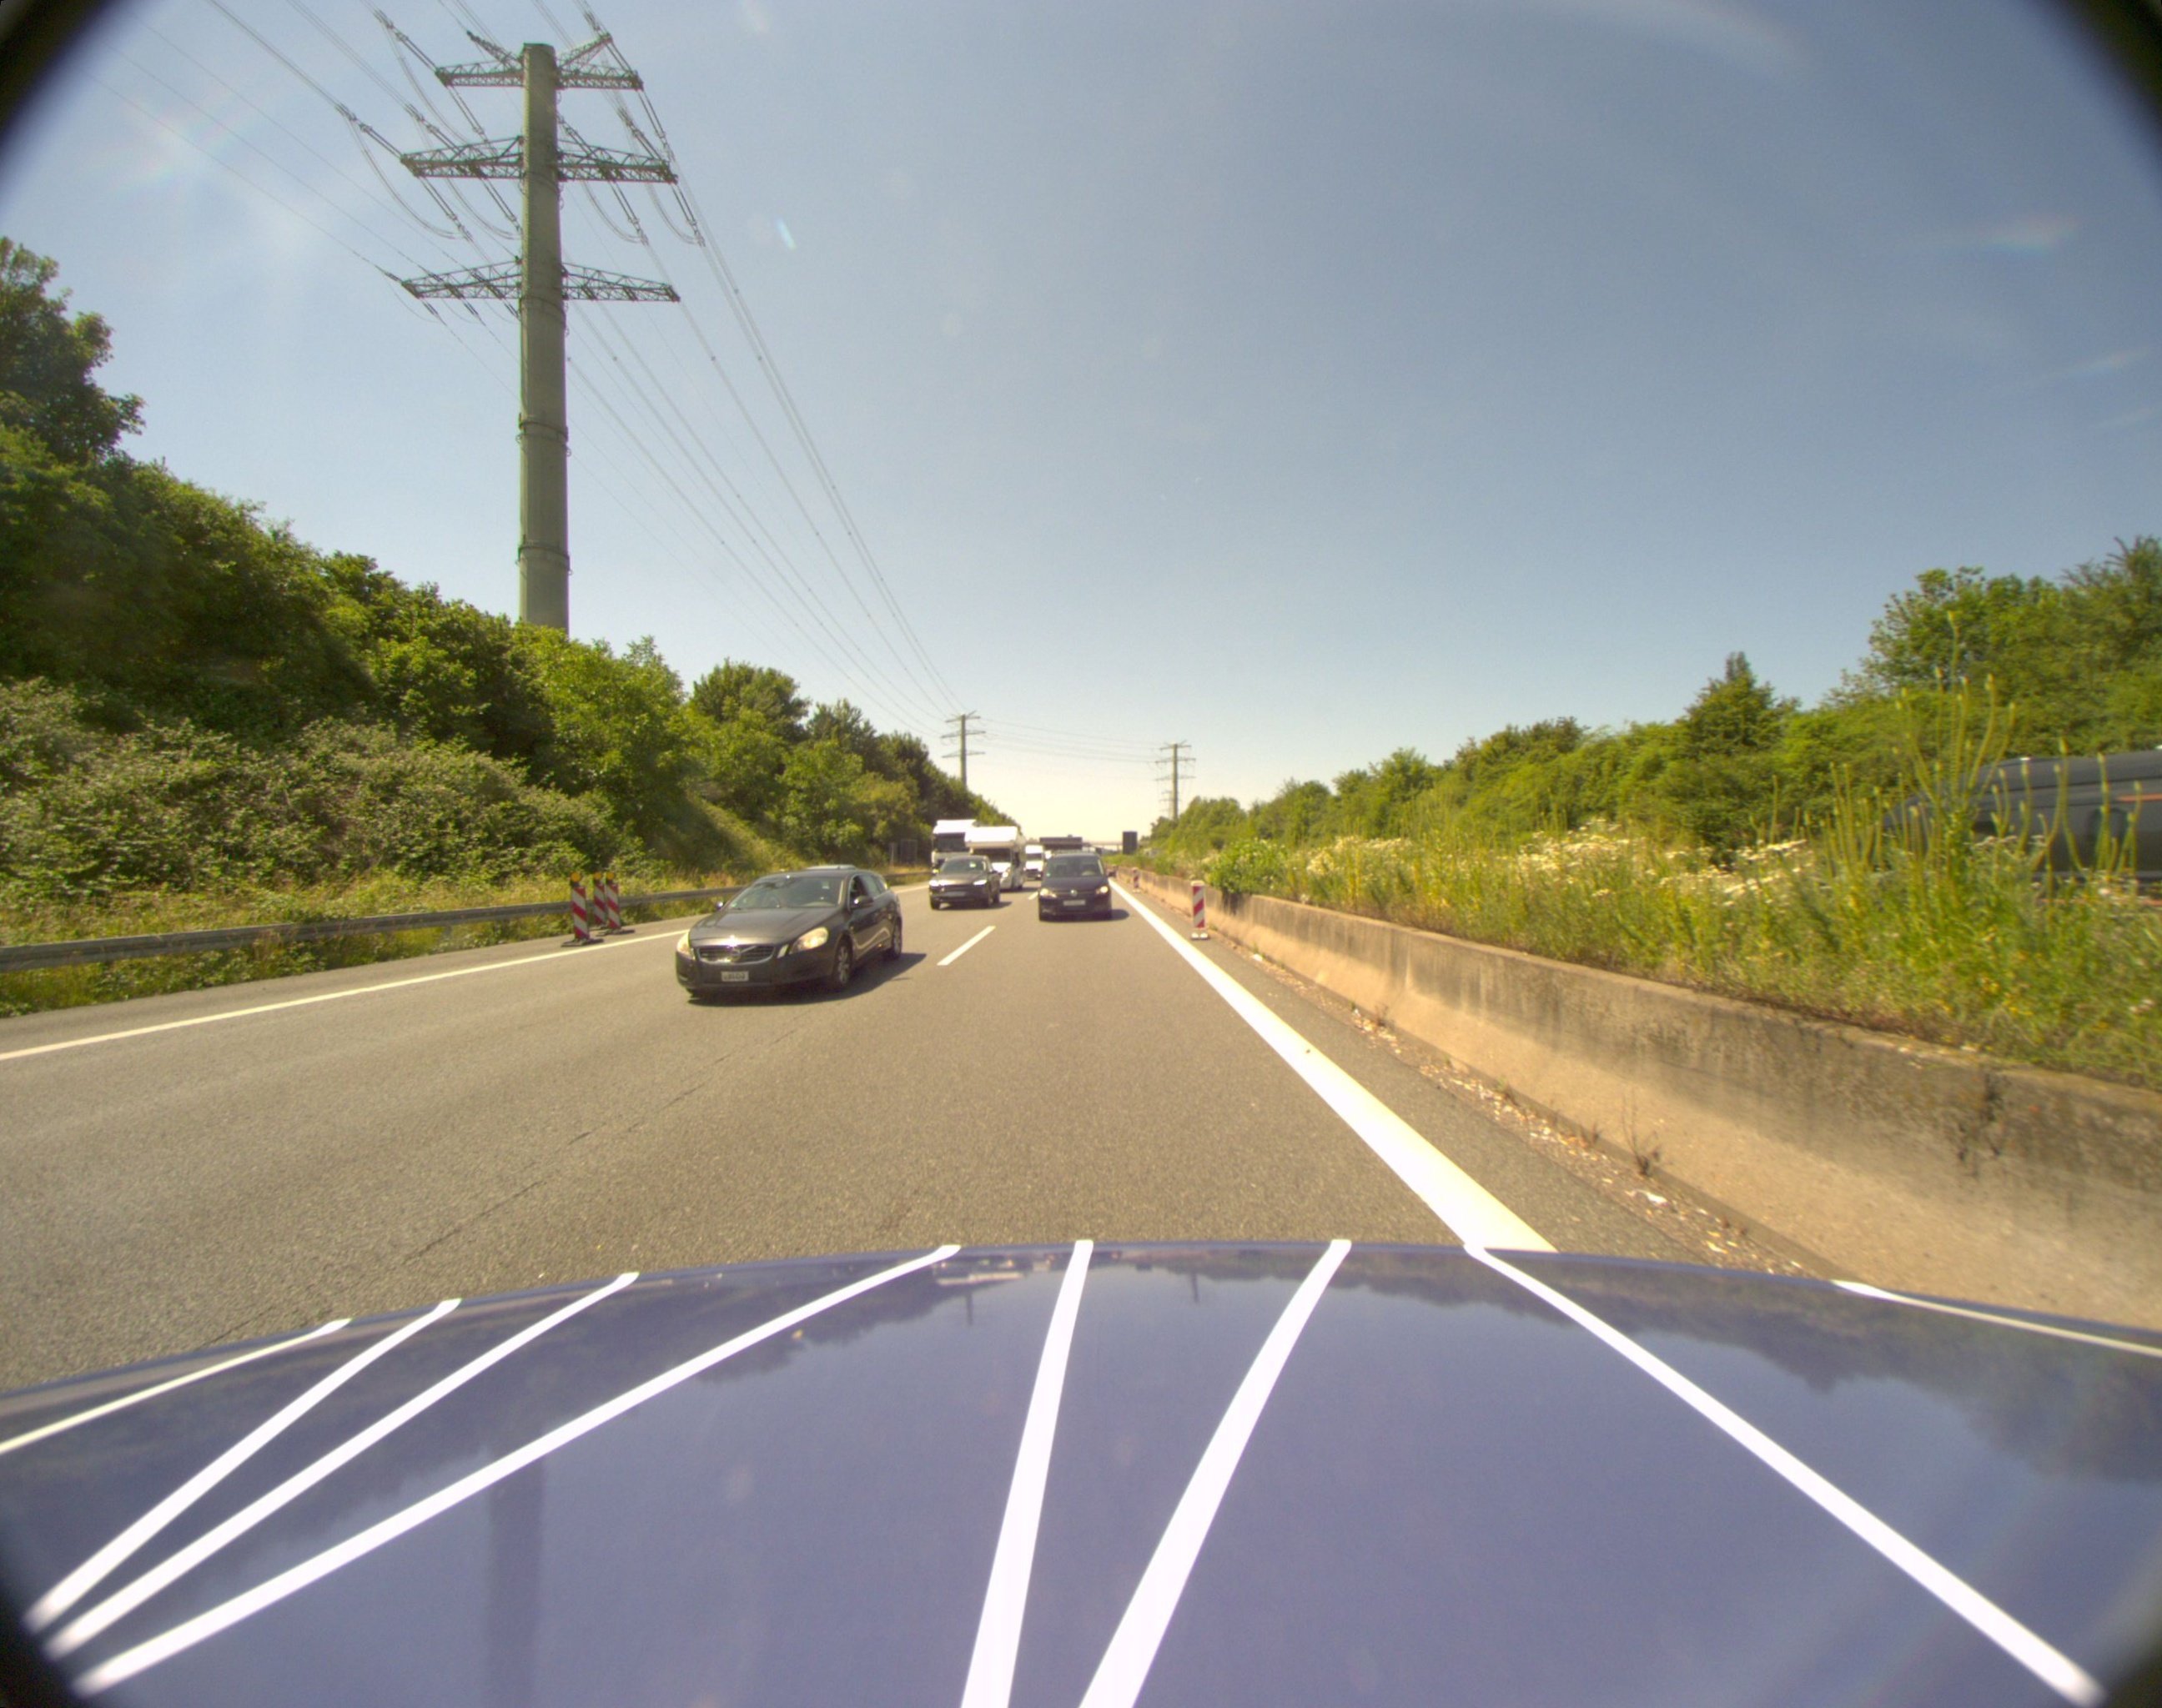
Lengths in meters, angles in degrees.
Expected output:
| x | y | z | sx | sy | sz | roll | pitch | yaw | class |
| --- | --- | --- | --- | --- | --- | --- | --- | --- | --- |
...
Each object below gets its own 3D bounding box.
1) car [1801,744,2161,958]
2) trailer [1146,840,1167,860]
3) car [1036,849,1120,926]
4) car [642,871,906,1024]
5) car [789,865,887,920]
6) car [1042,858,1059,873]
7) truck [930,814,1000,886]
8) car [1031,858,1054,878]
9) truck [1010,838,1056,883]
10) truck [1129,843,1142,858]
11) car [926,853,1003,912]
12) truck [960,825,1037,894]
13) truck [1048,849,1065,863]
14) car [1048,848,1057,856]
| x | y | z | sx | sy | sz | roll | pitch | yaw | class |
| --- | --- | --- | --- | --- | --- | --- | --- | --- | --- |
| 11.494 | -0.040 | 8.478 | 1.998 | 2.079 | 5.229 | 0 | 0 | 1 | car |
| 16.189 | -0.859 | 163.187 | 3.024 | 4.142 | 14.019 | 2 | 0 | 0 | trailer |
| -0.116 | 0.765 | 19.681 | 1.892 | 1.692 | 4.382 | -2 | 0 | -1 | car |
| -3.688 | 1.019 | 10.051 | 1.801 | 1.429 | 4.230 | -2 | 0 | -1 | car |
| -7.329 | 1.109 | 23.279 | 1.801 | 1.429 | 3.730 | -2 | 0 | -1 | car |
| -3.709 | 1.362 | 93.672 | 1.892 | 1.692 | 4.382 | -2 | 0 | -1 | car |
| -7.418 | -0.288 | 50.467 | 2.655 | 4.128 | 11.660 | -2 | 0 | 0 | truck |
| -3.482 | 1.246 | 69.628 | 1.892 | 1.692 | 4.382 | -2 | 0 | -1 | car |
| -3.496 | 0.415 | 57.346 | 2.514 | 2.997 | 9.897 | -2 | 0 | 1 | truck |
| 15.191 | -0.922 | 211.146 | 2.769 | 3.866 | 9.029 | 2 | 0 | 0 | truck |
| -3.741 | 0.856 | 25.080 | 1.892 | 1.692 | 4.382 | -2 | 0 | -1 | car |
| -3.946 | 0.226 | 38.734 | 2.514 | 2.997 | 9.897 | -2 | 0 | 1 | truck |
| -4.141 | 0.323 | 130.317 | 2.409 | 2.203 | 6.744 | -2 | 0 | 1 | truck |
| -7.230 | -0.432 | 190.230 | 1.998 | 2.002 | 4.000 | -2 | 0 | 1 | car |
